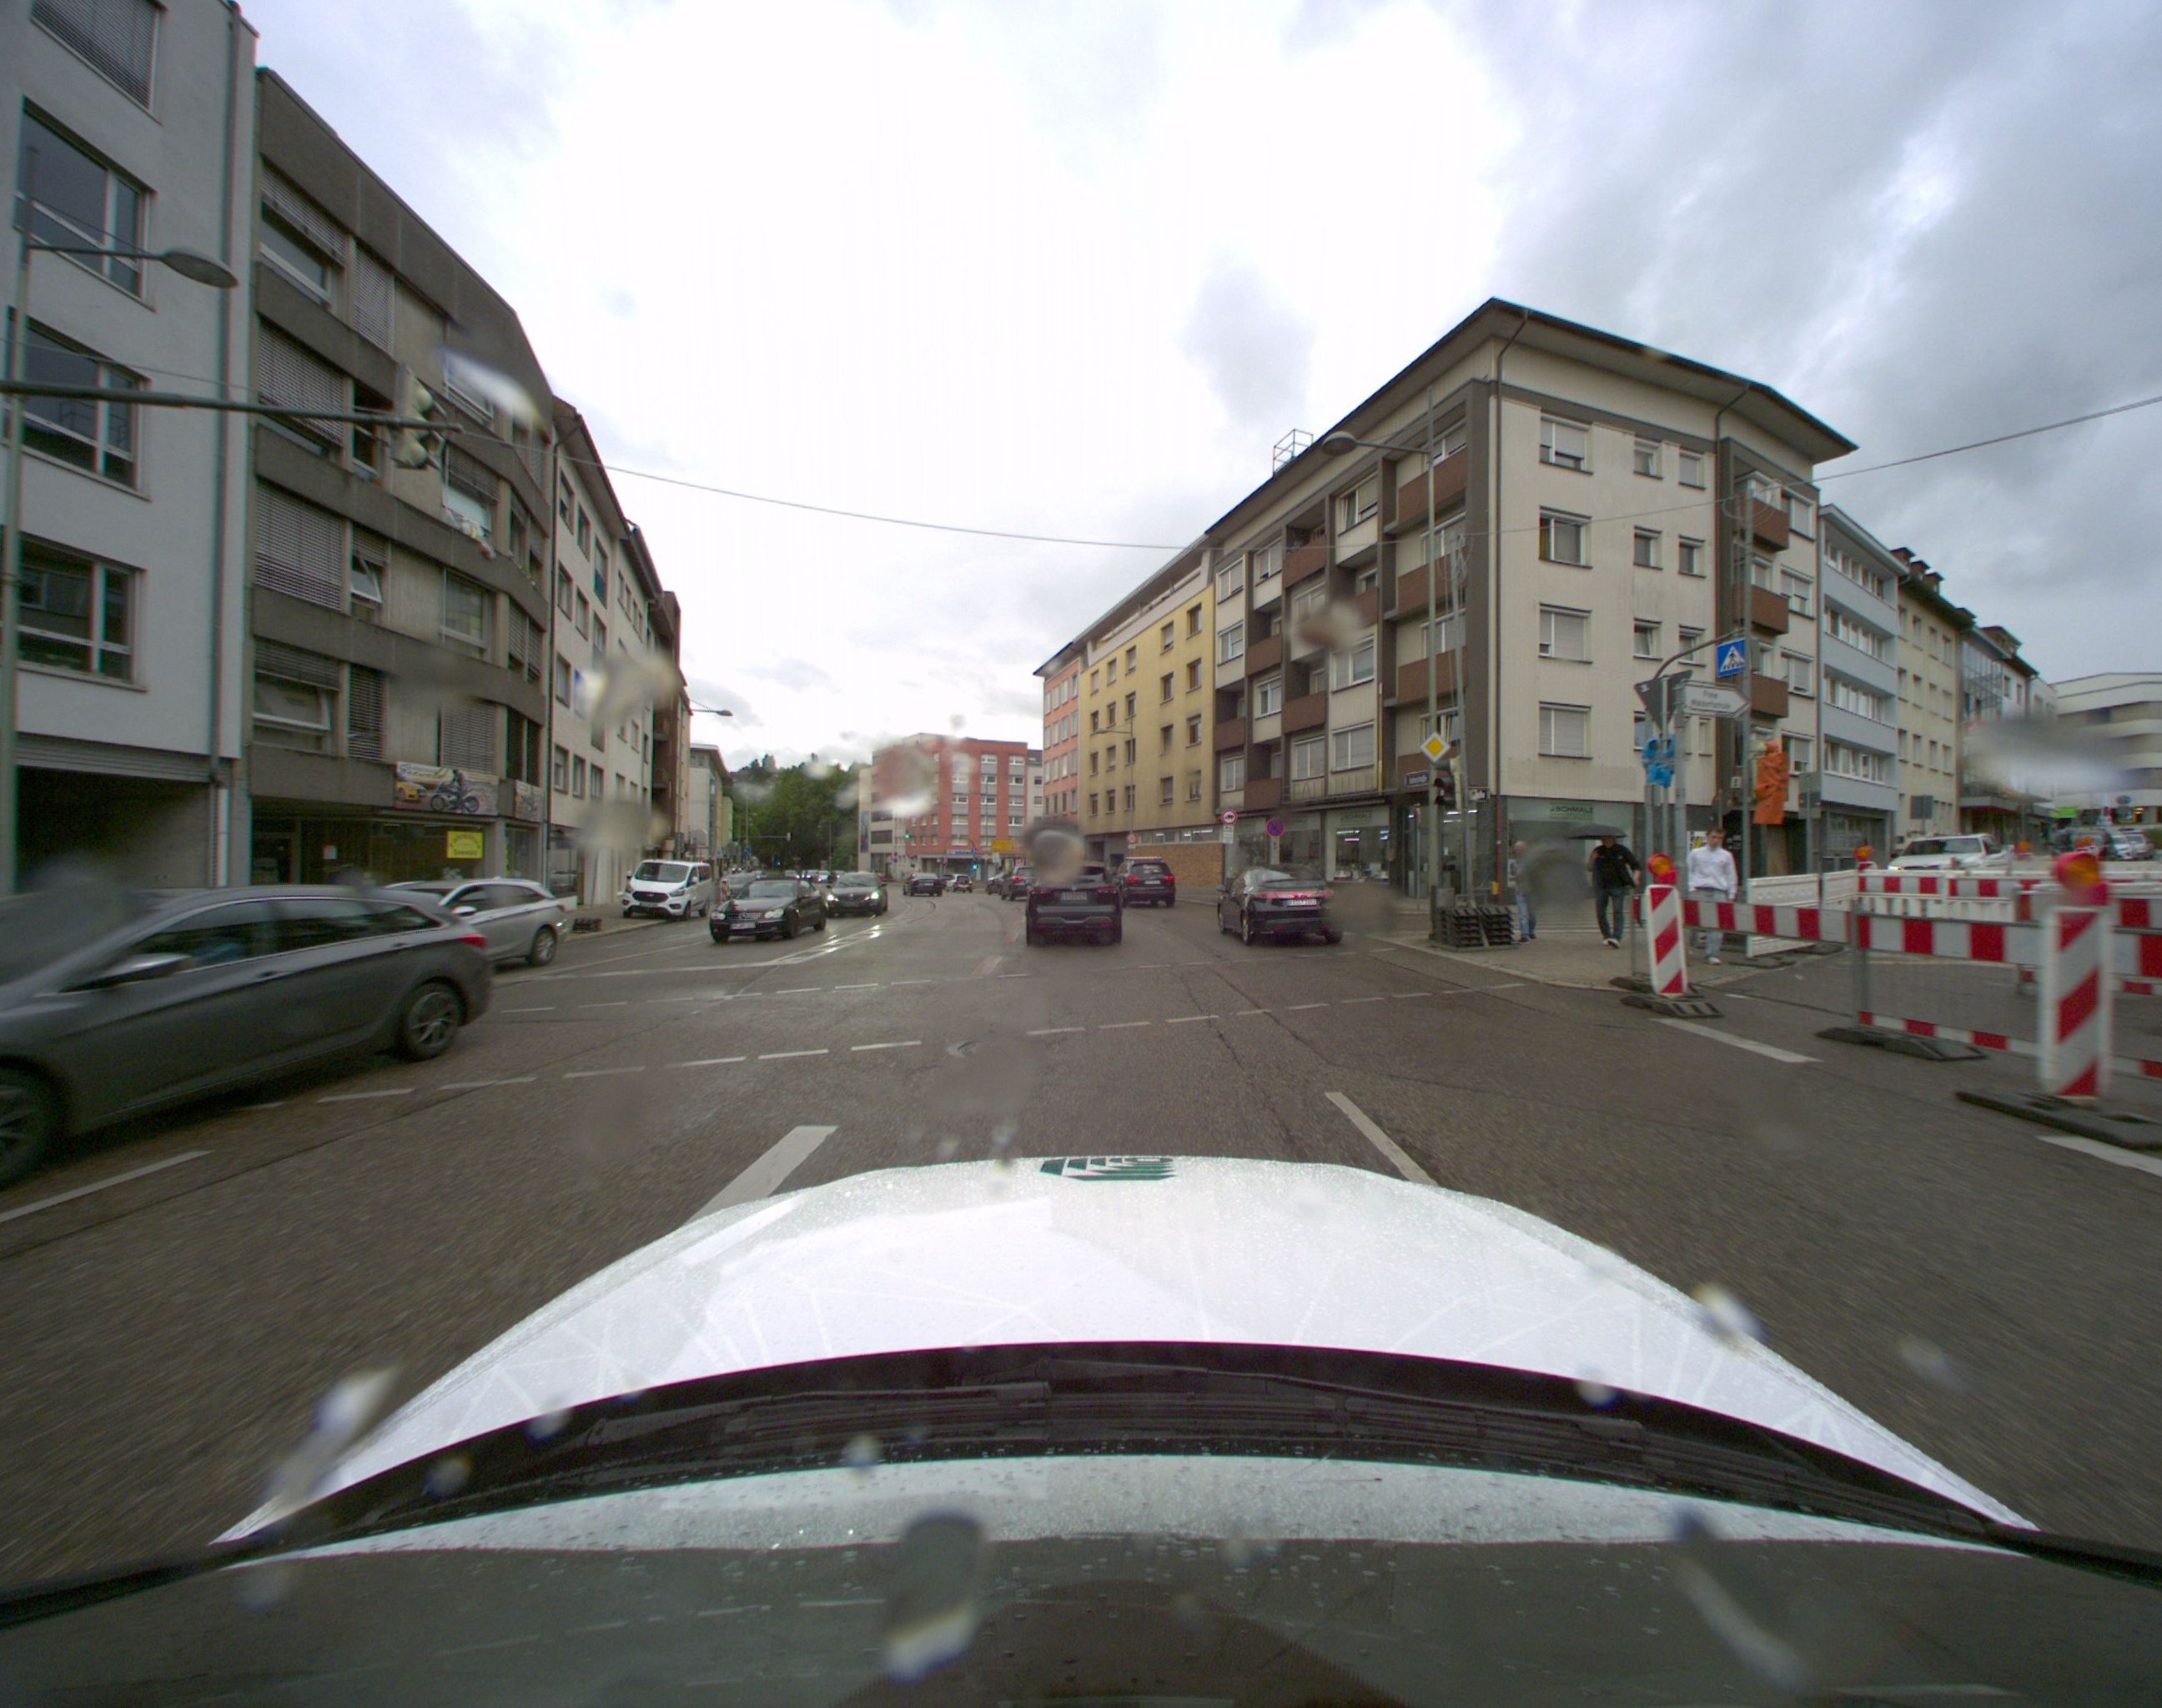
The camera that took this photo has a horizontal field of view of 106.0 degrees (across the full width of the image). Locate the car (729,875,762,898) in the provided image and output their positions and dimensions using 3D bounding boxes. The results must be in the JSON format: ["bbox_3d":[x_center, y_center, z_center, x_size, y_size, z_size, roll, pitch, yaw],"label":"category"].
[{"bbox_3d":[-23.893,2.298,58.122,1.914,1.554,4.600,-1,-1,-19],"label":"car"}]

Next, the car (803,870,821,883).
[{"bbox_3d":[-34.522,2.921,104.347,1.829,1.608,4.395,0,-2,-24],"label":"car"}]

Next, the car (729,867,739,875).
[{"bbox_3d":[-84.778,4.245,199.072,2.002,1.860,3.969,3,-2,-23],"label":"car"}]

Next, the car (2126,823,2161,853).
[{"bbox_3d":[79.389,-1.181,59.084,2.002,2.014,4.064,3,-2,-23],"label":"car"}]

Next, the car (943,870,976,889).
[{"bbox_3d":[-10.496,2.160,70.156,2.000,1.486,3.972,3,-2,-20],"label":"car"}]

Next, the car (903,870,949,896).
[{"bbox_3d":[-9.449,1.716,49.243,2.000,1.388,4.469,3,-2,-20],"label":"car"}]

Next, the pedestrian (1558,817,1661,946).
[{"bbox_3d":[8.052,0.425,12.421,0.924,1.861,1.019,1,-4,-41],"label":"pedestrian"}]

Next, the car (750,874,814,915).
[{"bbox_3d":[-11.331,1.493,31.058,1.723,1.399,3.580,-2,-1,-12],"label":"car"}]

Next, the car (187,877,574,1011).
[{"bbox_3d":[-9.955,1.158,12.222,1.924,1.474,4.599,-3,-1,-3],"label":"car"}]

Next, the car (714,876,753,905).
[{"bbox_3d":[-19.268,1.971,45.149,1.890,1.477,4.940,-1,-1,-24],"label":"car"}]

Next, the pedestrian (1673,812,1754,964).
[{"bbox_3d":[8.242,0.438,10.657,0.649,1.880,1.000,-3,-3,32],"label":"pedestrian"}]

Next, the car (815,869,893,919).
[{"bbox_3d":[-7.632,1.293,27.731,1.983,1.459,4.471,-2,-1,-9],"label":"car"}]

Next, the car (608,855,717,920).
[{"bbox_3d":[-14.475,1.190,28.547,2.121,2.015,5.104,3,-3,-13],"label":"car"}]

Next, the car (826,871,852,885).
[{"bbox_3d":[-28.053,2.756,94.432,1.869,1.553,4.183,1,-2,-32],"label":"car"}]

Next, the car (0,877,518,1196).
[{"bbox_3d":[-6.134,0.936,5.251,1.848,1.474,4.645,-1,-1,-2],"label":"car"}]

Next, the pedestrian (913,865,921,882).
[{"bbox_3d":[-21.799,2.590,108.502,0.829,2.158,0.764,3,-2,-23],"label":"pedestrian"}]

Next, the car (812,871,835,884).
[{"bbox_3d":[-31.233,2.920,98.810,1.945,1.527,4.096,0,-2,-28],"label":"car"}]

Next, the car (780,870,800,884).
[{"bbox_3d":[-36.129,2.884,100.990,1.871,1.647,4.218,-1,-1,-25],"label":"car"}]

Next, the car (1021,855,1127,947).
[{"bbox_3d":[-0.231,0.873,16.694,1.890,1.629,3.995,-1,-1,-3],"label":"car"}]

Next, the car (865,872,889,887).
[{"bbox_3d":[-22.927,2.887,91.424,2.001,1.530,3.971,3,-2,-21],"label":"car"}]

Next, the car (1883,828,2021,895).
[{"bbox_3d":[25.012,0.177,23.342,4.818,1.720,1.978,-2,-1,-35],"label":"car"}]

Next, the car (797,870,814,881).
[{"bbox_3d":[-38.219,2.960,112.827,1.830,1.434,4.362,0,-2,-25],"label":"car"}]

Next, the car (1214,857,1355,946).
[{"bbox_3d":[3.831,0.841,16.013,1.777,1.497,4.056,-1,-1,1],"label":"car"}]

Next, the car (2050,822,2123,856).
[{"bbox_3d":[50.668,-0.766,41.027,4.015,1.603,1.908,-1,0,-33],"label":"car"}]

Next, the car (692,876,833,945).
[{"bbox_3d":[-7.345,1.233,19.281,1.821,1.366,4.595,-1,-1,-5],"label":"car"}]

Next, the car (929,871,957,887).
[{"bbox_3d":[-13.923,2.493,82.323,1.986,1.519,4.001,2,-2,1],"label":"car"}]

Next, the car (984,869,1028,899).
[{"bbox_3d":[-5.019,1.944,53.959,1.952,1.816,3.973,-2,-1,-20],"label":"car"}]

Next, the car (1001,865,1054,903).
[{"bbox_3d":[-2.641,1.404,39.017,1.947,1.685,3.983,-2,-1,-12],"label":"car"}]

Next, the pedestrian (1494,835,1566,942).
[{"bbox_3d":[7.370,0.572,13.402,0.786,1.688,0.824,-2,-3,15],"label":"pedestrian"}]

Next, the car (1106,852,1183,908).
[{"bbox_3d":[2.287,0.956,30.647,2.018,1.869,4.889,-2,-1,-6],"label":"car"}]
